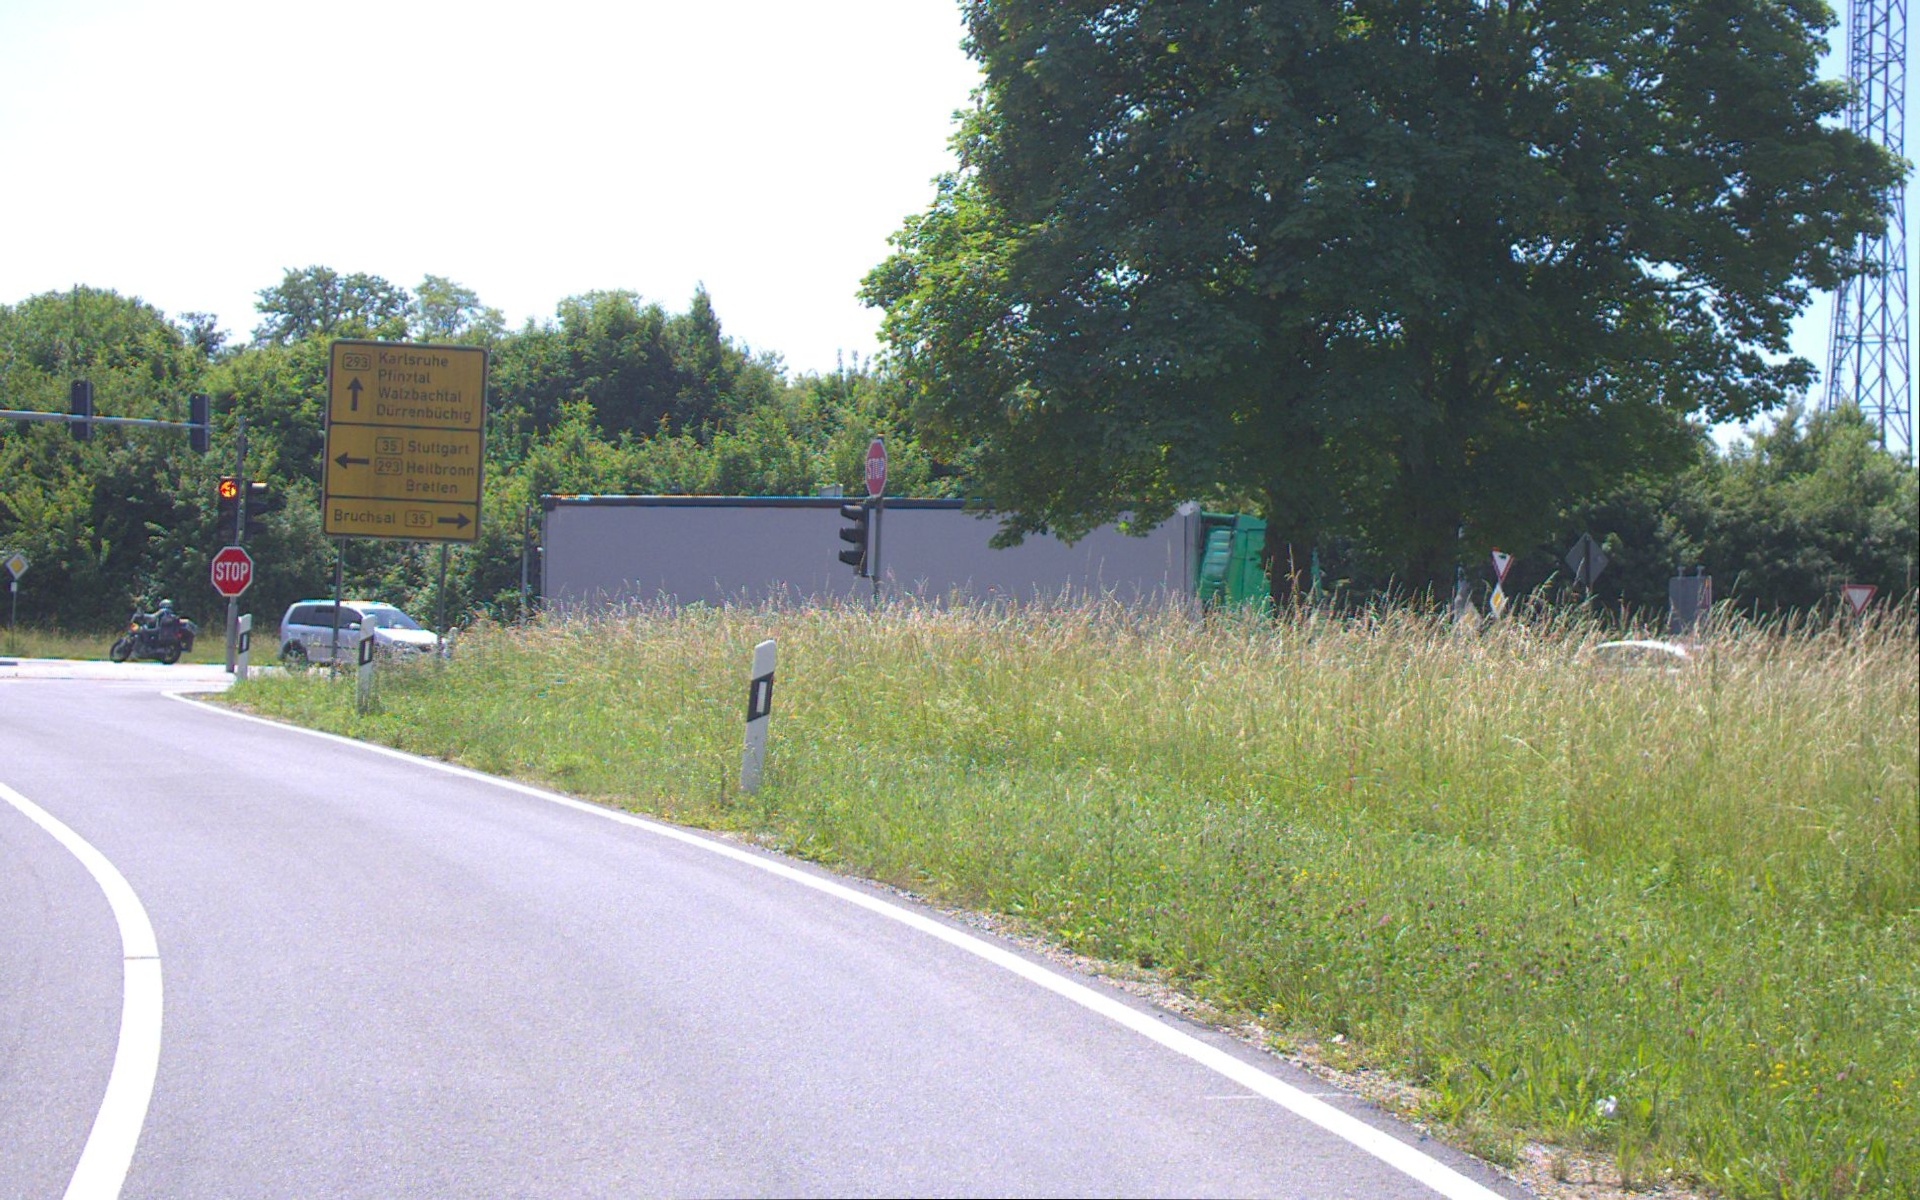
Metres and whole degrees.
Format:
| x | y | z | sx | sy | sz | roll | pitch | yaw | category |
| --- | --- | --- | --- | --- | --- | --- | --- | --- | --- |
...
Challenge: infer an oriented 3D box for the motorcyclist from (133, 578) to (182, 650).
| x | y | z | sx | sy | sz | roll | pitch | yaw | category |
| --- | --- | --- | --- | --- | --- | --- | --- | --- | --- |
| -20.686 | 0.351 | 88.607 | 0.897 | 1.837 | 0.838 | 0 | 0 | 25 | motorcyclist |

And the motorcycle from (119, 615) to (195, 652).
| x | y | z | sx | sy | sz | roll | pitch | yaw | category |
| --- | --- | --- | --- | --- | --- | --- | --- | --- | --- |
| -20.690 | 0.859 | 88.601 | 1.869 | 0.960 | 0.730 | 0 | 0 | 27 | motorcycle |

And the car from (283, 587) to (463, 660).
| x | y | z | sx | sy | sz | roll | pitch | yaw | category |
| --- | --- | --- | --- | --- | --- | --- | --- | --- | --- |
| -13.006 | 0.500 | 76.146 | 3.684 | 1.570 | 1.723 | 0 | 1 | 30 | car |

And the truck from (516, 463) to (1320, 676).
| x | y | z | sx | sy | sz | roll | pitch | yaw | category |
| --- | --- | --- | --- | --- | --- | --- | --- | --- | --- |
| -0.832 | -0.654 | 72.580 | 16.636 | 4.159 | 3.135 | 1 | 0 | 8 | truck |
